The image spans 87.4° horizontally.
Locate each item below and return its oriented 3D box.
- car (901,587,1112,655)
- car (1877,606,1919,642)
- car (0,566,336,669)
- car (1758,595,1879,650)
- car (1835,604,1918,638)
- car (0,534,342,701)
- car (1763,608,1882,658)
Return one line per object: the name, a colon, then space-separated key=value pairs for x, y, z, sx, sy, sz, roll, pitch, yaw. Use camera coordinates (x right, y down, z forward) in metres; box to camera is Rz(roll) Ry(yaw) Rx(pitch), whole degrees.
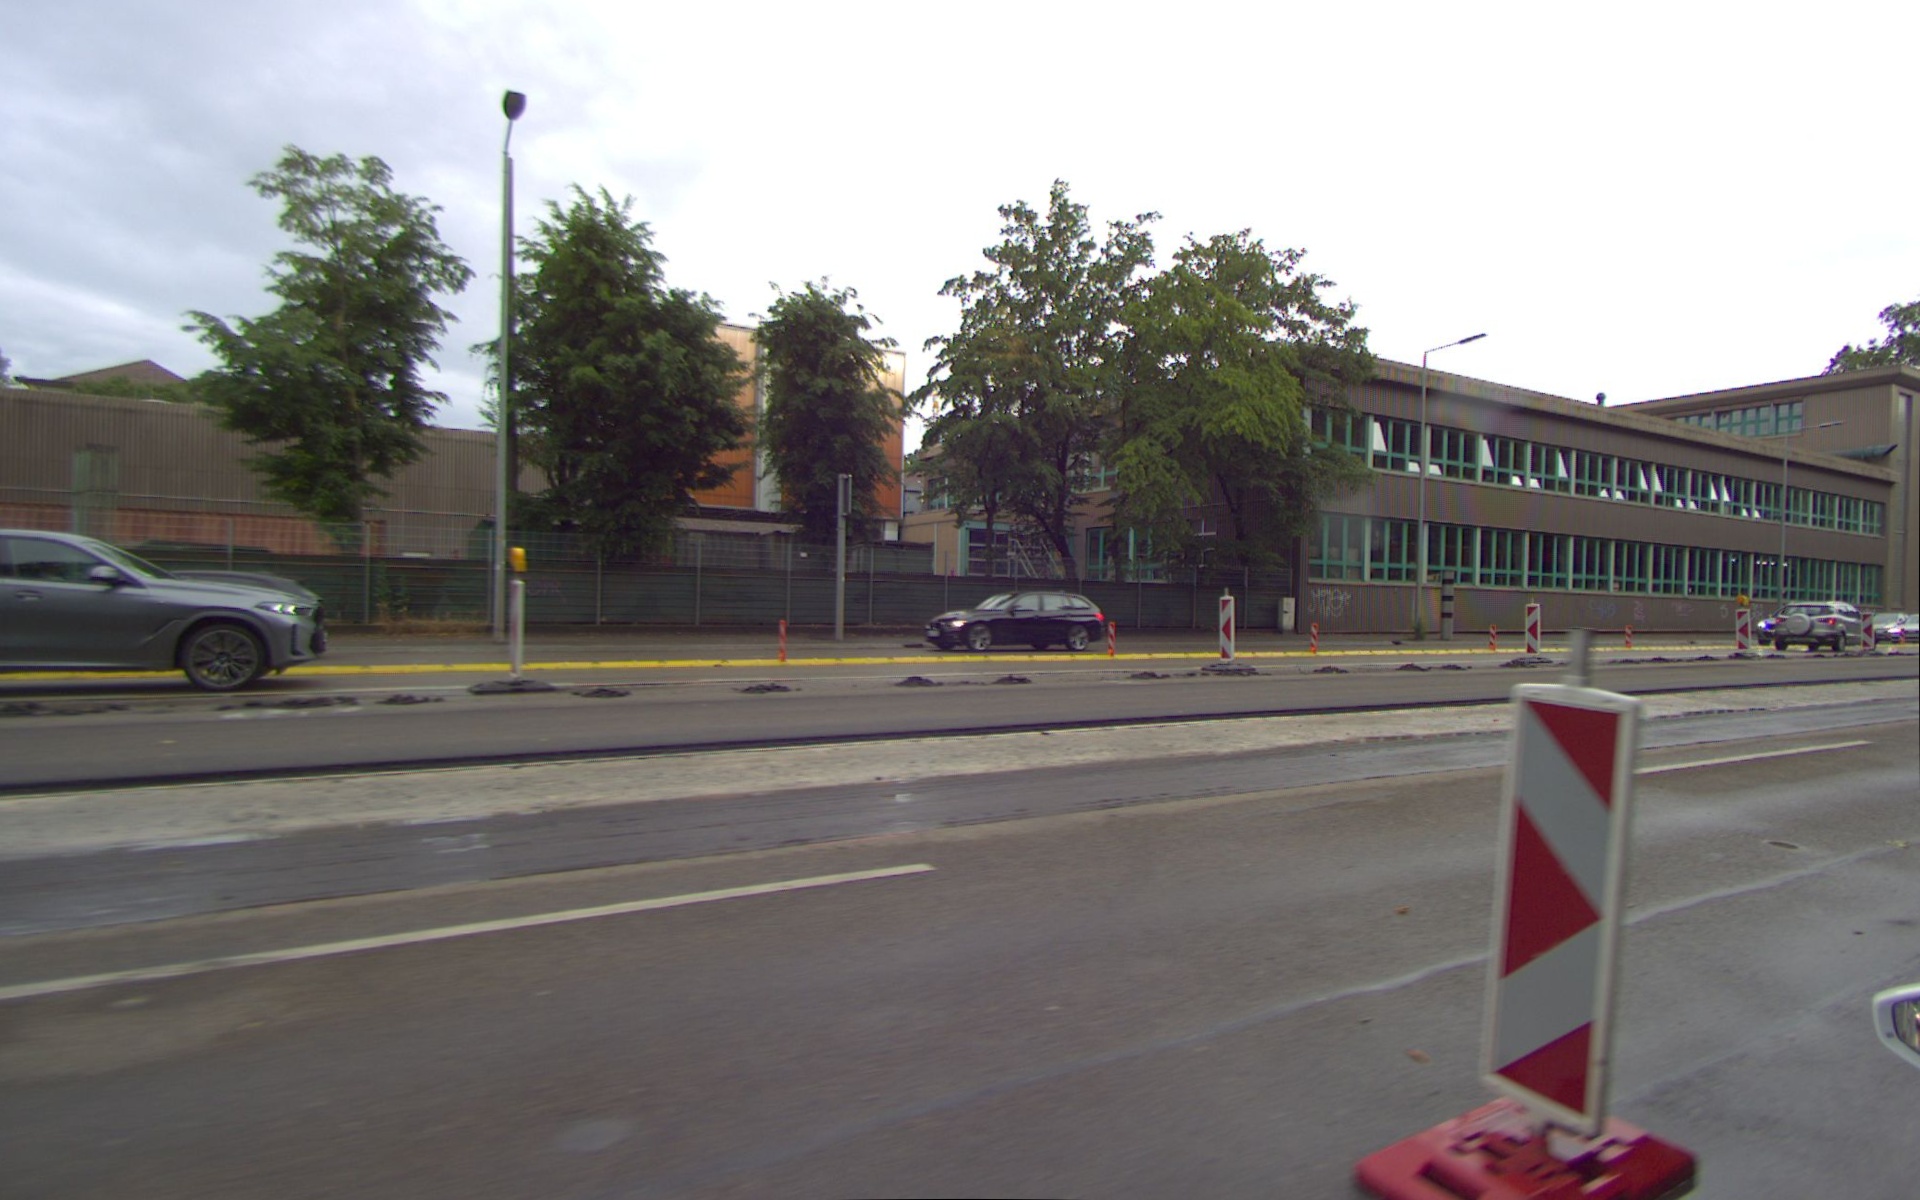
car: x=1.154 y=0.510 z=24.211 sx=4.708 sy=1.474 sz=2.036 roll=2 pitch=1 yaw=-30
car: x=44.490 y=1.141 z=46.573 sx=3.945 sy=1.555 sz=1.795 roll=2 pitch=1 yaw=-30
car: x=-12.529 y=0.258 z=16.102 sx=4.216 sy=1.448 sz=1.983 roll=1 pitch=1 yaw=-31
car: x=28.657 y=0.756 z=33.513 sx=3.953 sy=1.670 sz=1.845 roll=2 pitch=1 yaw=-30
car: x=46.882 y=1.084 z=51.383 sx=4.130 sy=1.607 sz=1.984 roll=2 pitch=1 yaw=-30
car: x=-9.700 y=0.149 z=10.903 sx=4.998 sy=1.635 sz=2.066 roll=2 pitch=1 yaw=-31
car: x=33.730 y=1.282 z=39.264 sx=4.617 sy=1.792 sz=1.980 roll=2 pitch=1 yaw=-29
